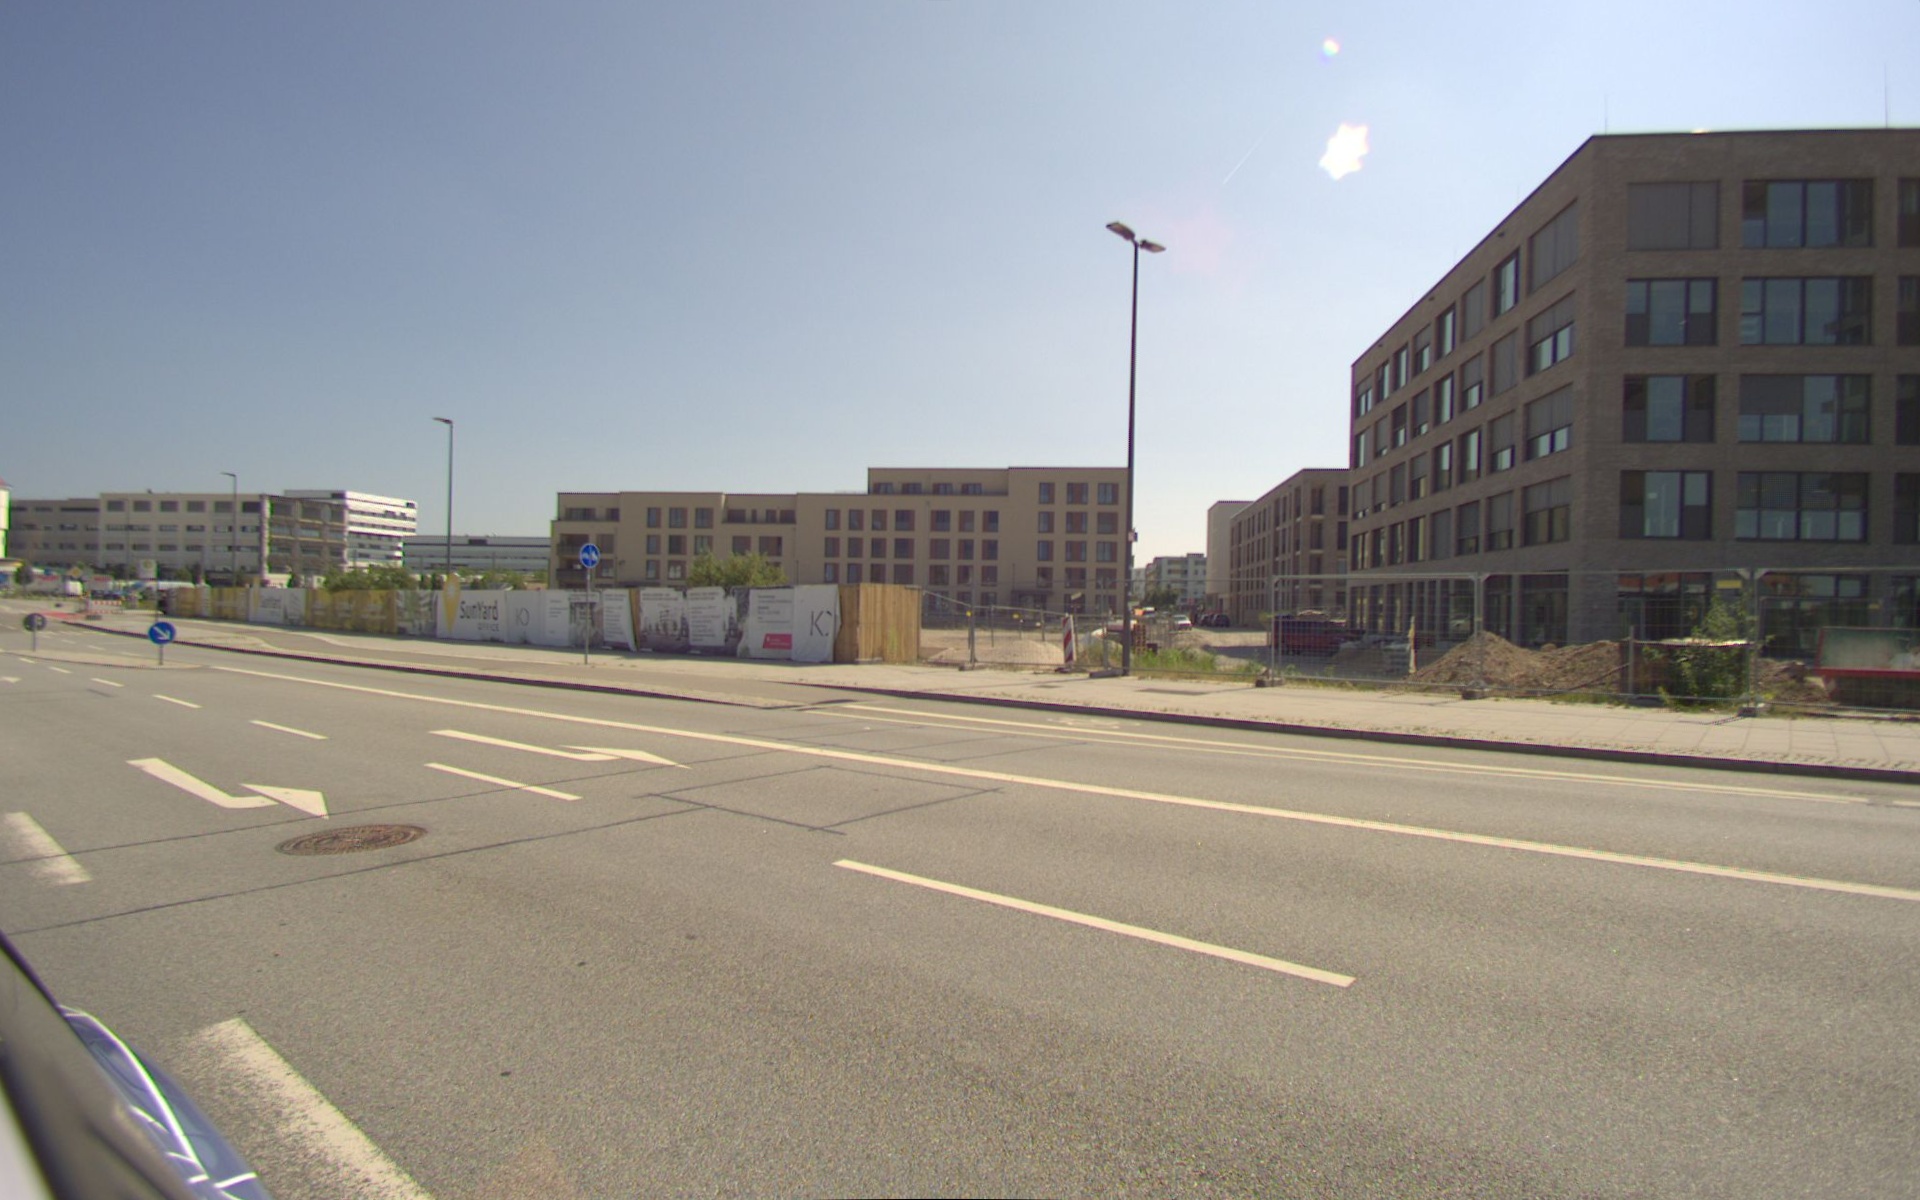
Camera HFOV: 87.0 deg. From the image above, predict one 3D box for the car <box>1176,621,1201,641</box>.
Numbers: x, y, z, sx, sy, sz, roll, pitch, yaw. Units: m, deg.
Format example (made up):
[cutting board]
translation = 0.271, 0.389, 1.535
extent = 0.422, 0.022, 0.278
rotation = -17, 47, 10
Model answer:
[car]
translation = 16.331, 2.238, 72.523
extent = 1.594, 1.302, 3.182
rotation = 0, 0, 11
